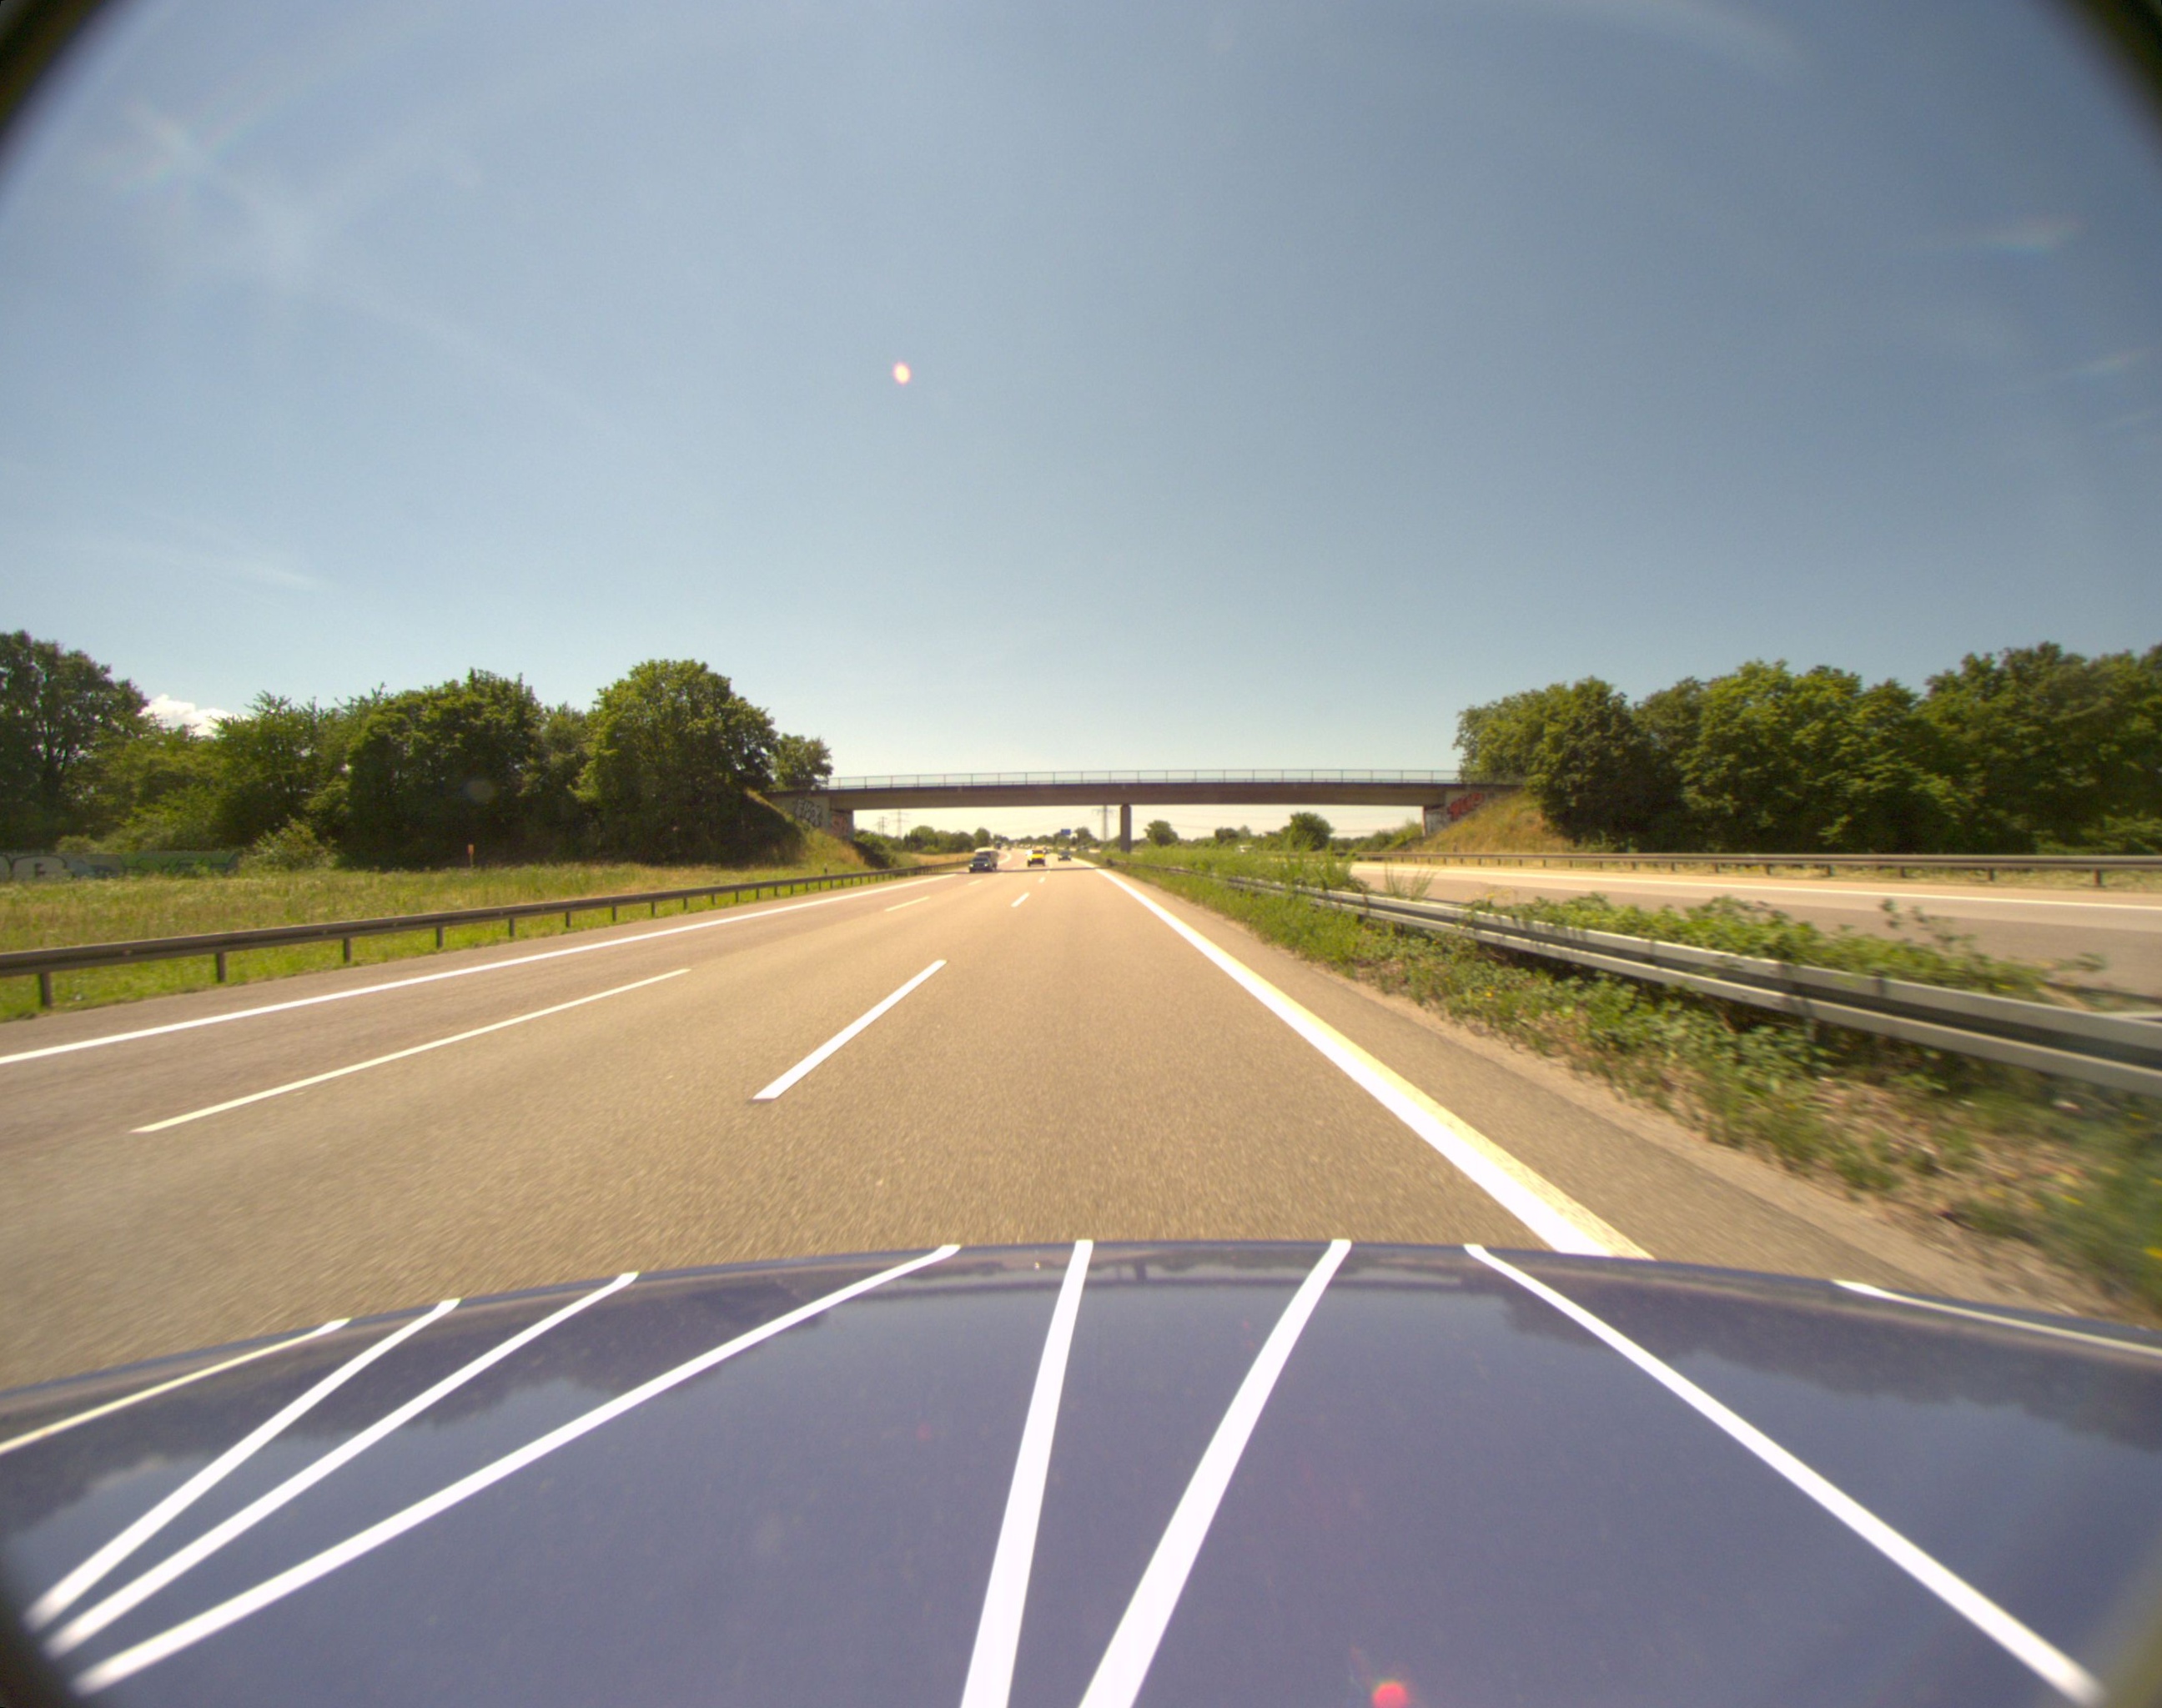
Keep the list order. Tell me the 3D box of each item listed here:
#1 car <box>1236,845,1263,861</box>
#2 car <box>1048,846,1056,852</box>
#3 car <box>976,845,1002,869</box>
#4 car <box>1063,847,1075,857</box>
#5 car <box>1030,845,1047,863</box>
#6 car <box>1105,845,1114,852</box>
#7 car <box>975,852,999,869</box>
[{"bbox_3d":[16.556,-0.118,74.729,1.715,1.565,4.403,-1,1,1],"label":"car"},{"bbox_3d":[-8.105,-1.362,211.639,1.999,1.707,3.998,-1,1,-3],"label":"car"},{"bbox_3d":[-9.030,0.240,75.162,2.188,2.253,4.949,-1,1,-3],"label":"car"},{"bbox_3d":[-1.727,-0.304,111.447,1.726,1.478,3.999,-2,0,-1],"label":"car"},{"bbox_3d":[-4.554,-0.056,82.598,1.777,1.882,3.831,-1,1,-3],"label":"car"},{"bbox_3d":[7.136,-1.493,192.963,1.681,1.592,5.633,-3,1,-3],"label":"car"},{"bbox_3d":[-8.474,0.566,68.560,1.784,1.467,3.998,-1,1,-3],"label":"car"}]
